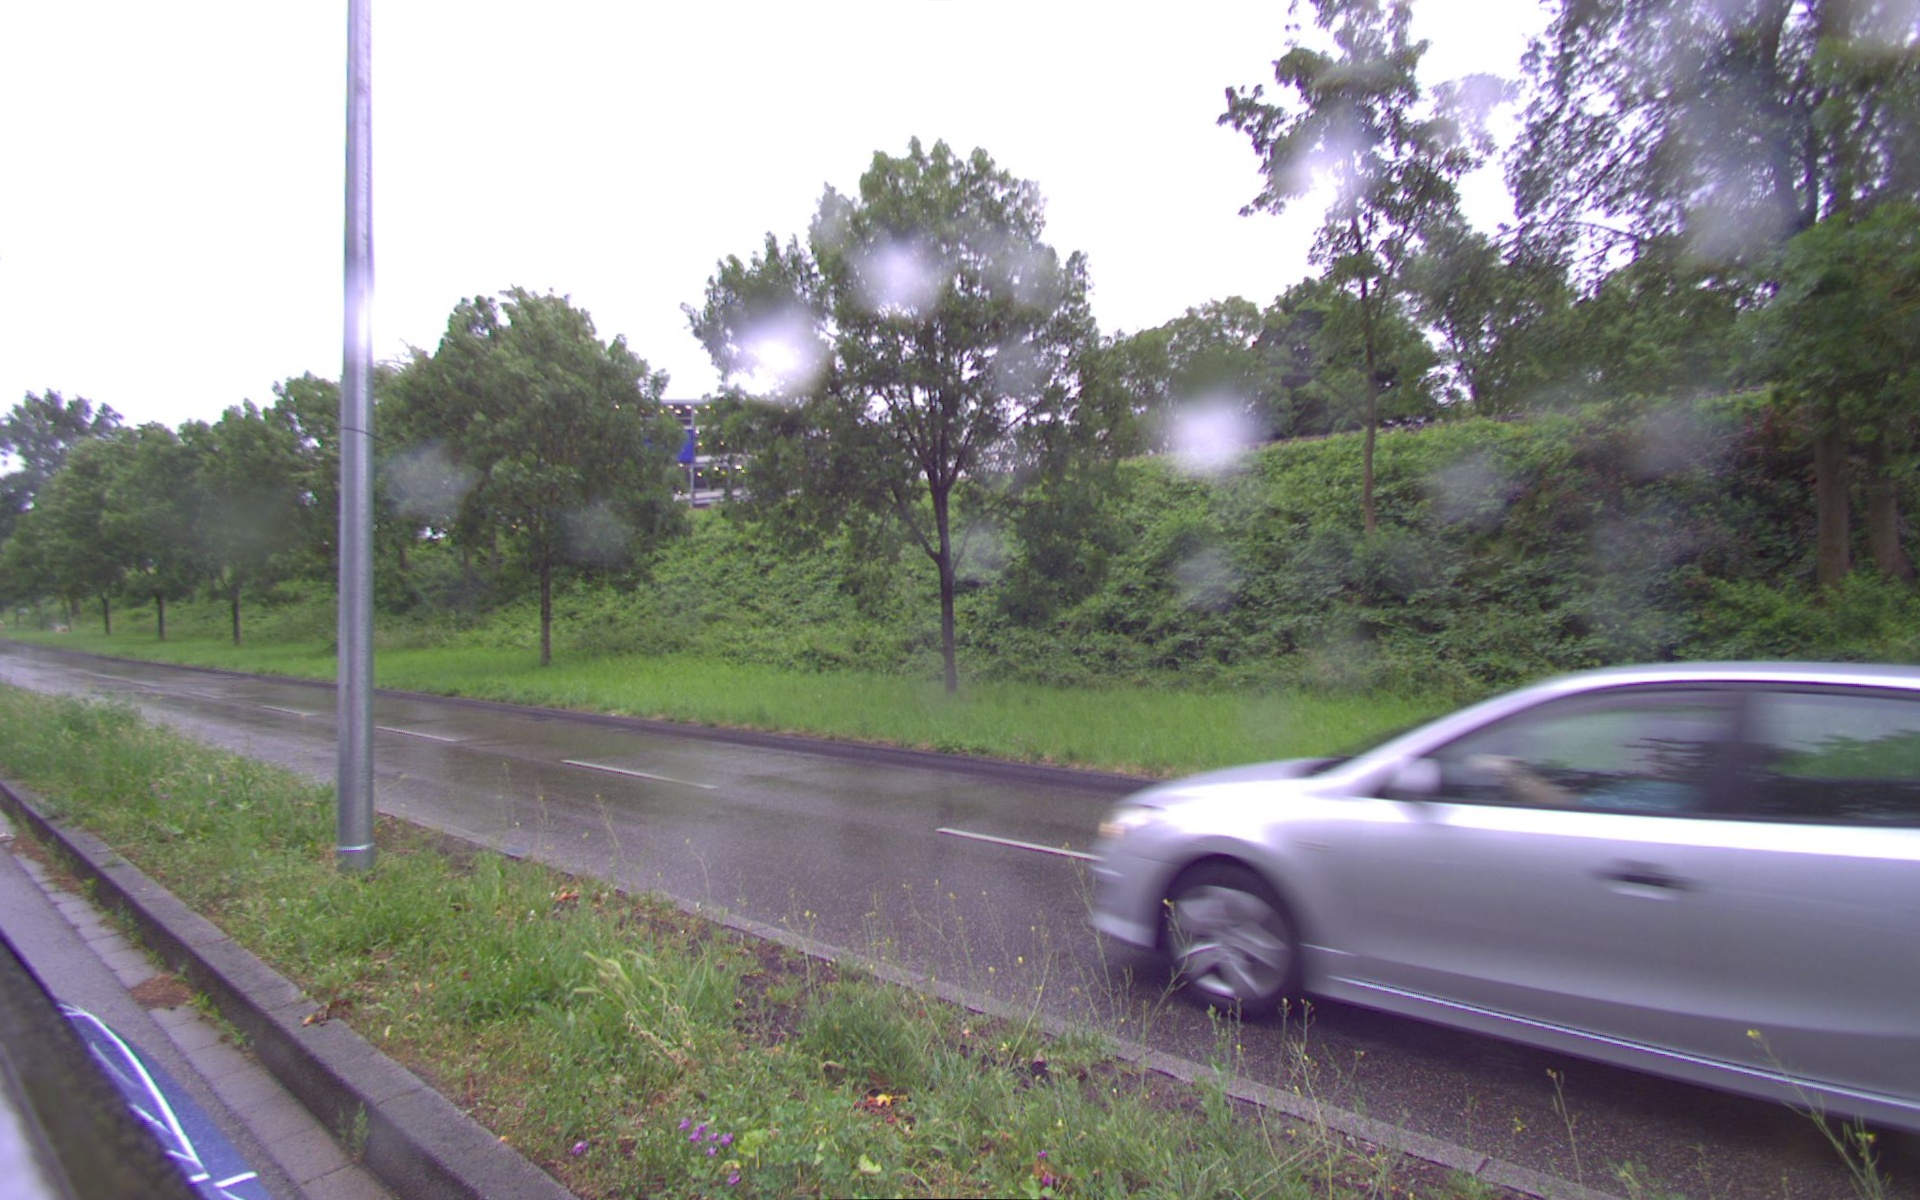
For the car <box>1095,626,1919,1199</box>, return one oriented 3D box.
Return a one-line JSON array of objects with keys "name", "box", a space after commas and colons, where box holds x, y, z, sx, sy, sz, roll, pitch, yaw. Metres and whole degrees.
[{"name": "car", "box": [2.675, 0.869, 3.673, 3.997, 1.474, 1.797, -1, -4, 40]}]
